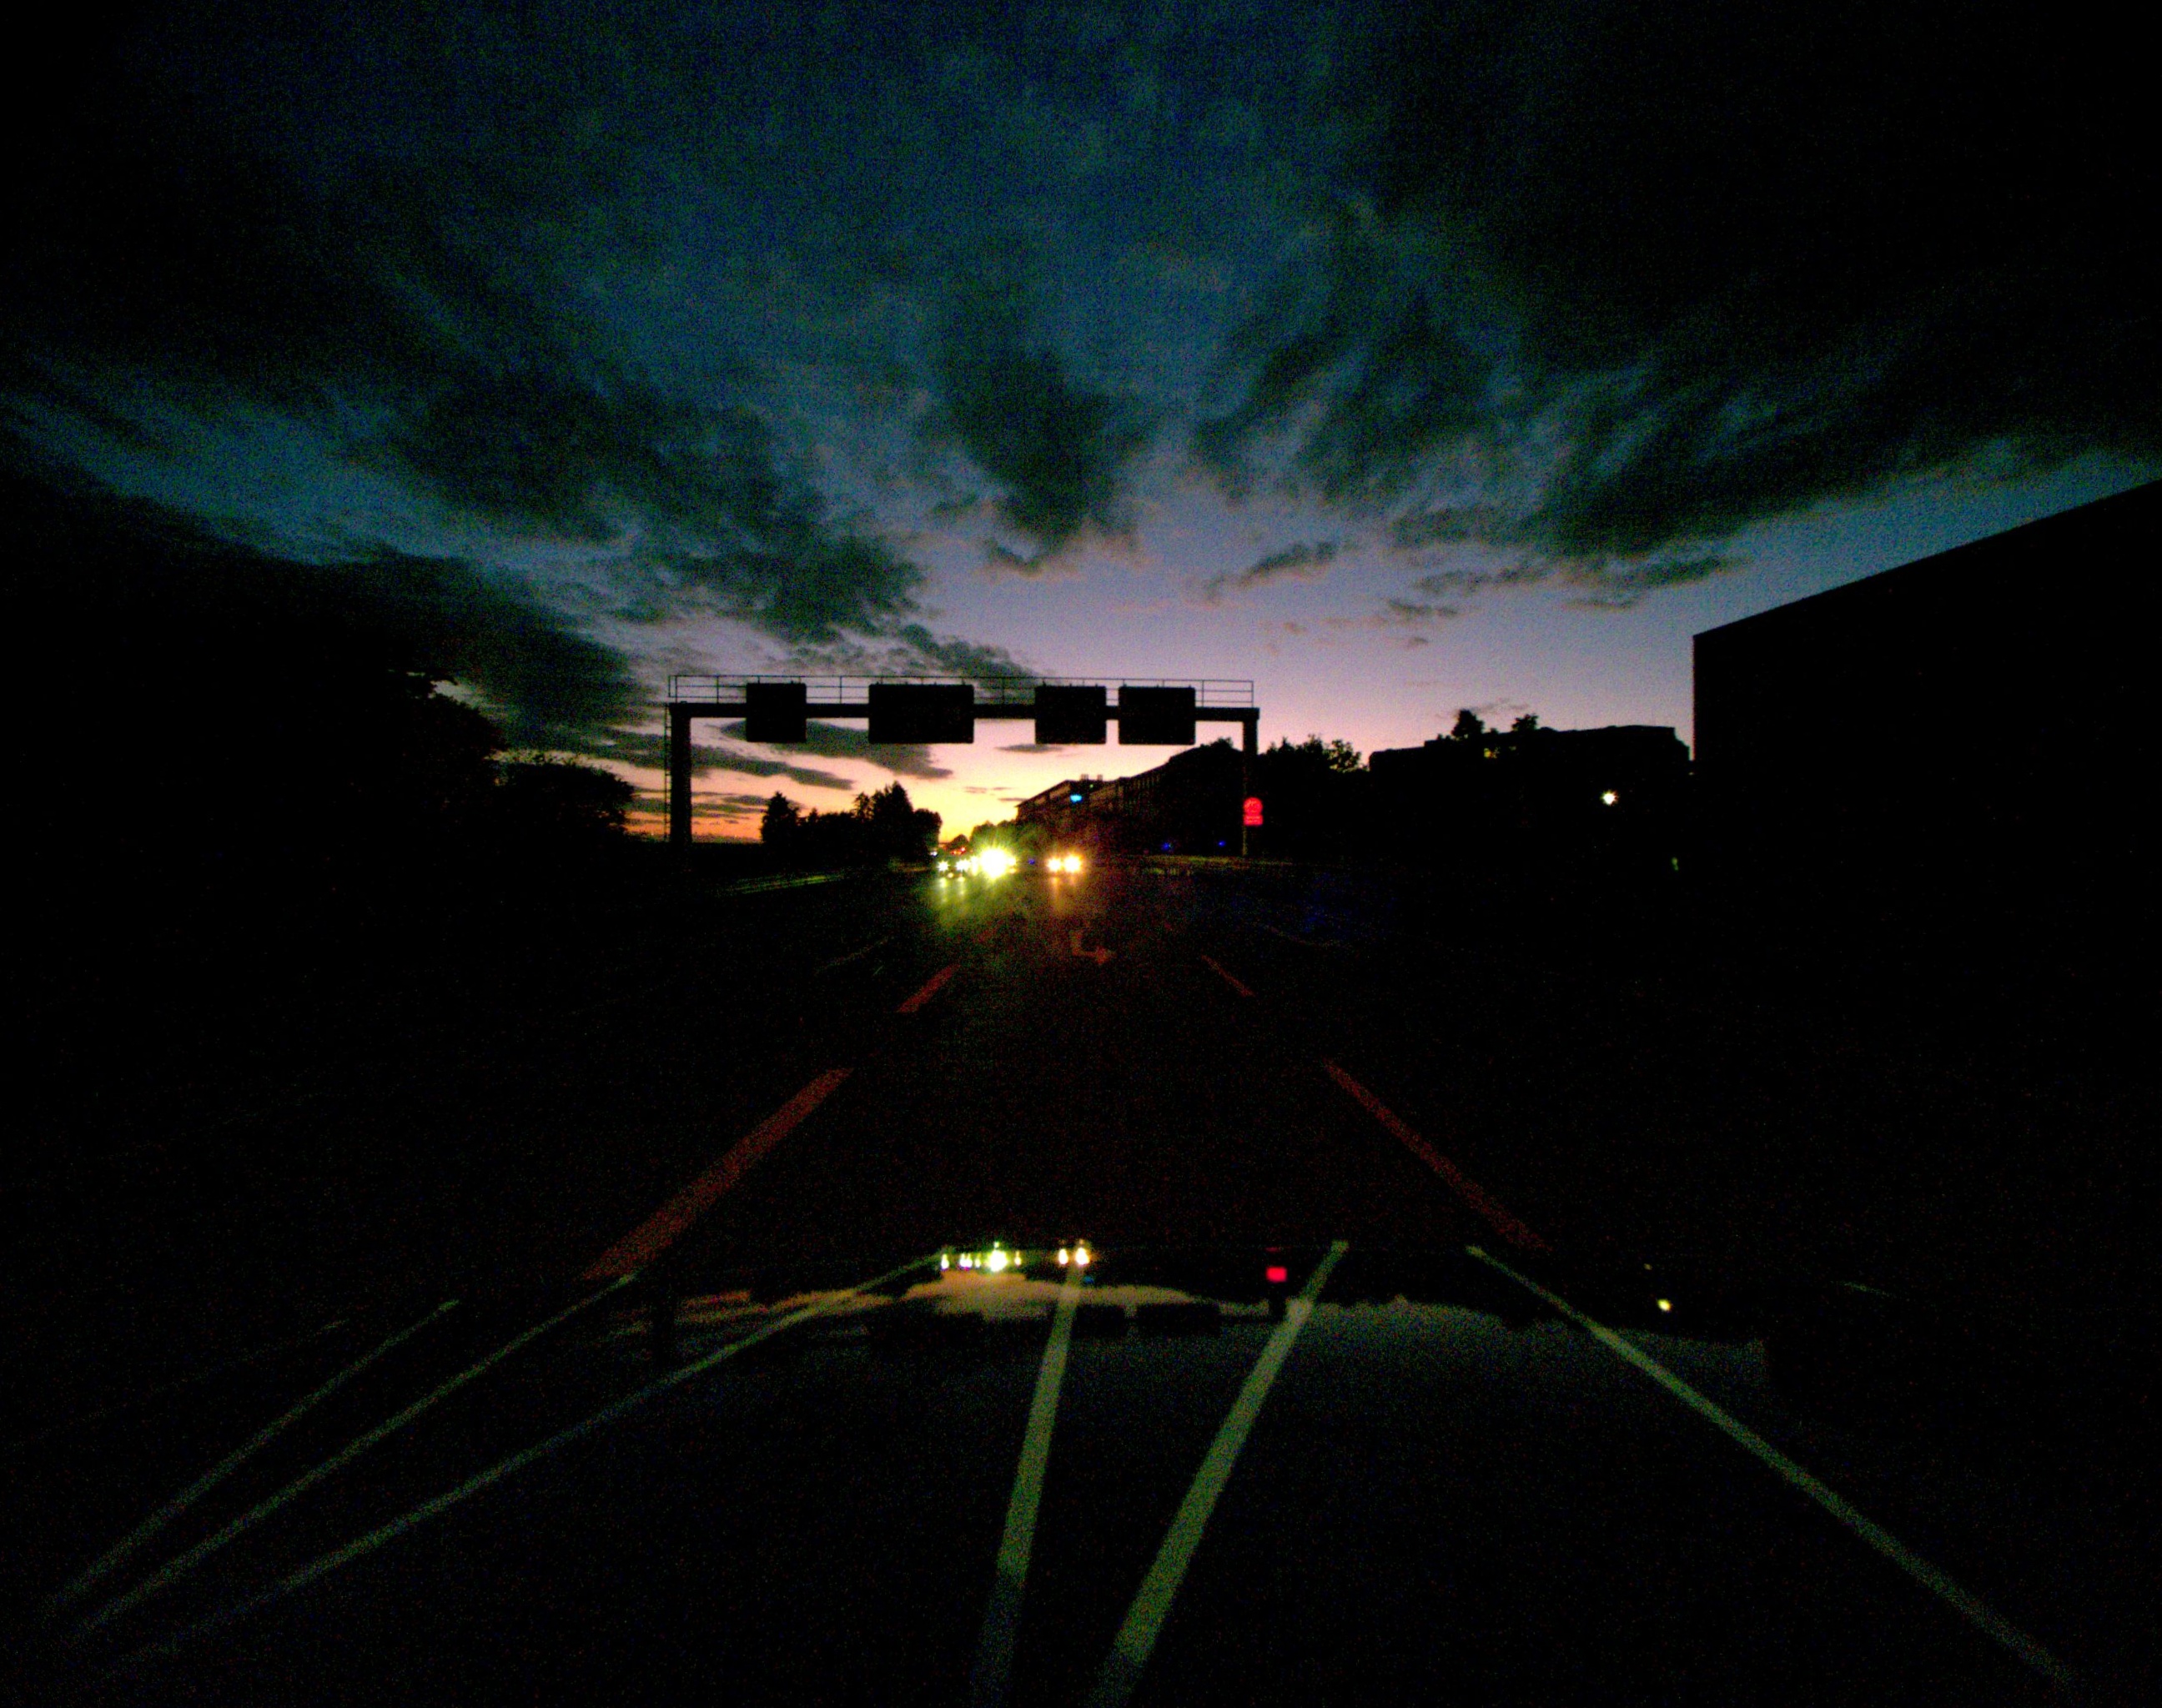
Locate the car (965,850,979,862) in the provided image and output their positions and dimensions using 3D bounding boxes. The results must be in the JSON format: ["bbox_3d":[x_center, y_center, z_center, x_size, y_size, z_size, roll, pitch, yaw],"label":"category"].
[{"bbox_3d":[-16.455,0.305,114.589,1.857,1.612,3.997,-2,0,-9],"label":"car"}]

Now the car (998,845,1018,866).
[{"bbox_3d":[-7.530,0.122,78.531,1.863,2.002,3.997,-3,1,-5],"label":"car"}]

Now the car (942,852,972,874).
[{"bbox_3d":[-9.663,0.692,59.467,1.999,1.575,3.998,-3,1,-5],"label":"car"}]

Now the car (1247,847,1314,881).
[{"bbox_3d":[9.518,0.426,36.645,1.999,1.473,4.681,-1,0,0],"label":"car"}]

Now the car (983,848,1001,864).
[{"bbox_3d":[-10.538,0.219,89.777,1.834,1.740,3.847,-3,1,-10],"label":"car"}]

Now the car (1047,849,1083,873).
[{"bbox_3d":[-1.115,0.430,50.933,1.757,1.447,3.800,-3,1,-10],"label":"car"}]
